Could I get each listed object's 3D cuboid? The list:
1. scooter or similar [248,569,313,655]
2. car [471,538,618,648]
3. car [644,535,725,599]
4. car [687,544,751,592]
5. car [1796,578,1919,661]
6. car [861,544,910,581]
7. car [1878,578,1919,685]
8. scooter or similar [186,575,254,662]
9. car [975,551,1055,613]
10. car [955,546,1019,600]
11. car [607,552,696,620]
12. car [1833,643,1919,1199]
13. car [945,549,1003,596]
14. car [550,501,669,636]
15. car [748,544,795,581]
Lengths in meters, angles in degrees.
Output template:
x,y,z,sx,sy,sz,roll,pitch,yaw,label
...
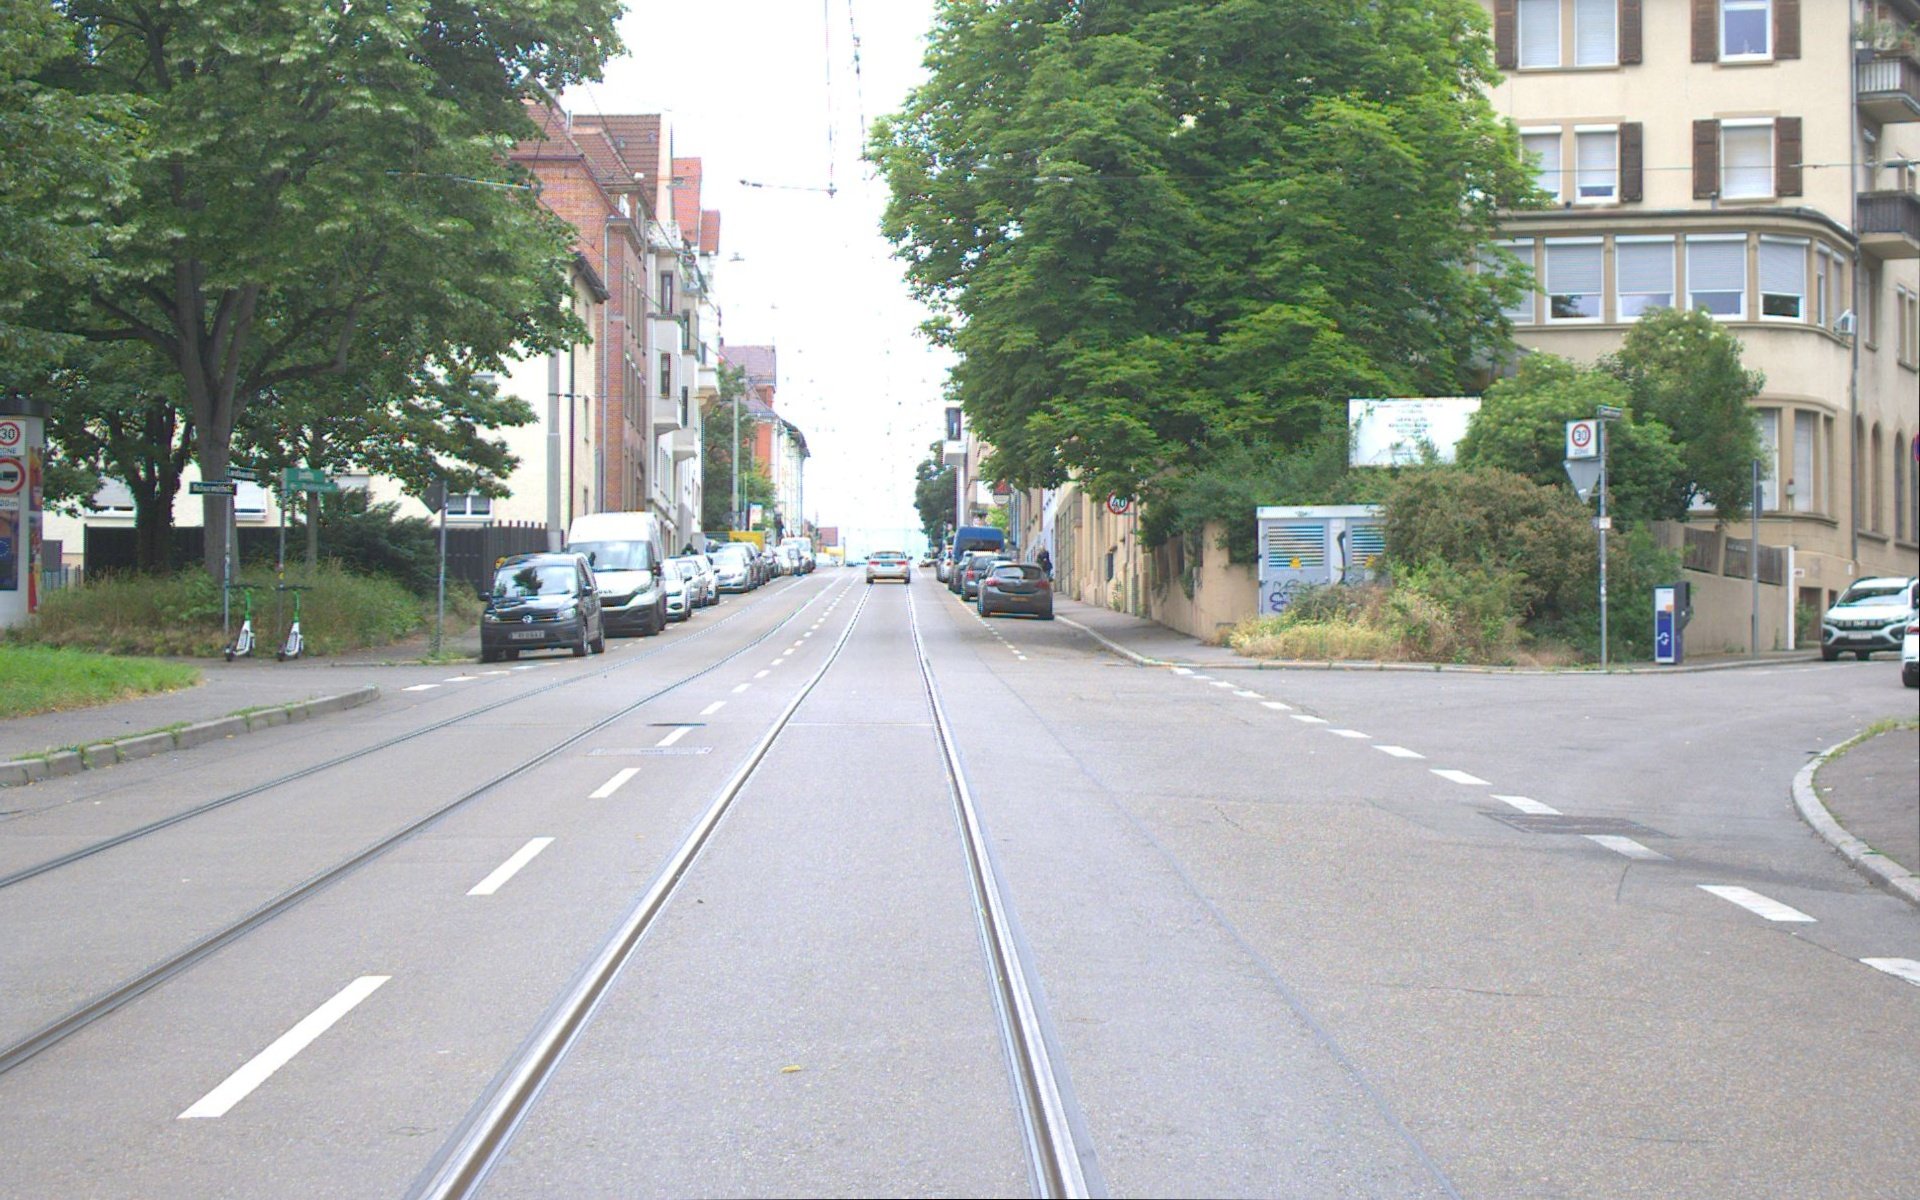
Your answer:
x,y,z,sx,sy,sz,roll,pitch,yaw,label
-10.715,0.185,54.248,0.691,1.334,1.639,1,0,0,scooter or similar
-7.141,-0.128,59.423,1.993,1.802,4.000,1,0,0,car
-8.081,-0.965,101.151,1.993,1.806,4.312,1,0,0,car
-8.246,-1.084,117.741,1.924,1.596,4.000,1,0,-1,car
17.823,0.380,67.515,1.996,1.547,3.995,1,0,24,car
-3.113,-1.557,143.837,1.993,1.493,4.312,1,0,-1,car
14.830,0.464,49.798,1.996,1.474,4.457,1,0,28,car
-11.671,0.281,54.271,0.691,1.334,1.639,1,0,0,scooter or similar
1.387,-0.448,88.332,1.993,1.525,4.312,1,0,0,car
0.850,-0.856,110.034,1.993,1.711,4.000,0,0,-1,car
-7.523,-0.350,84.229,1.993,1.595,4.313,1,0,-3,car
3.034,0.873,5.622,1.828,1.425,4.848,2,0,-1,car
0.472,-0.971,121.703,1.993,1.645,4.000,0,0,-1,car
-7.485,-0.664,73.910,2.230,2.755,5.800,1,0,-3,car
-8.627,-1.713,157.266,1.993,1.596,4.000,1,0,-1,car
